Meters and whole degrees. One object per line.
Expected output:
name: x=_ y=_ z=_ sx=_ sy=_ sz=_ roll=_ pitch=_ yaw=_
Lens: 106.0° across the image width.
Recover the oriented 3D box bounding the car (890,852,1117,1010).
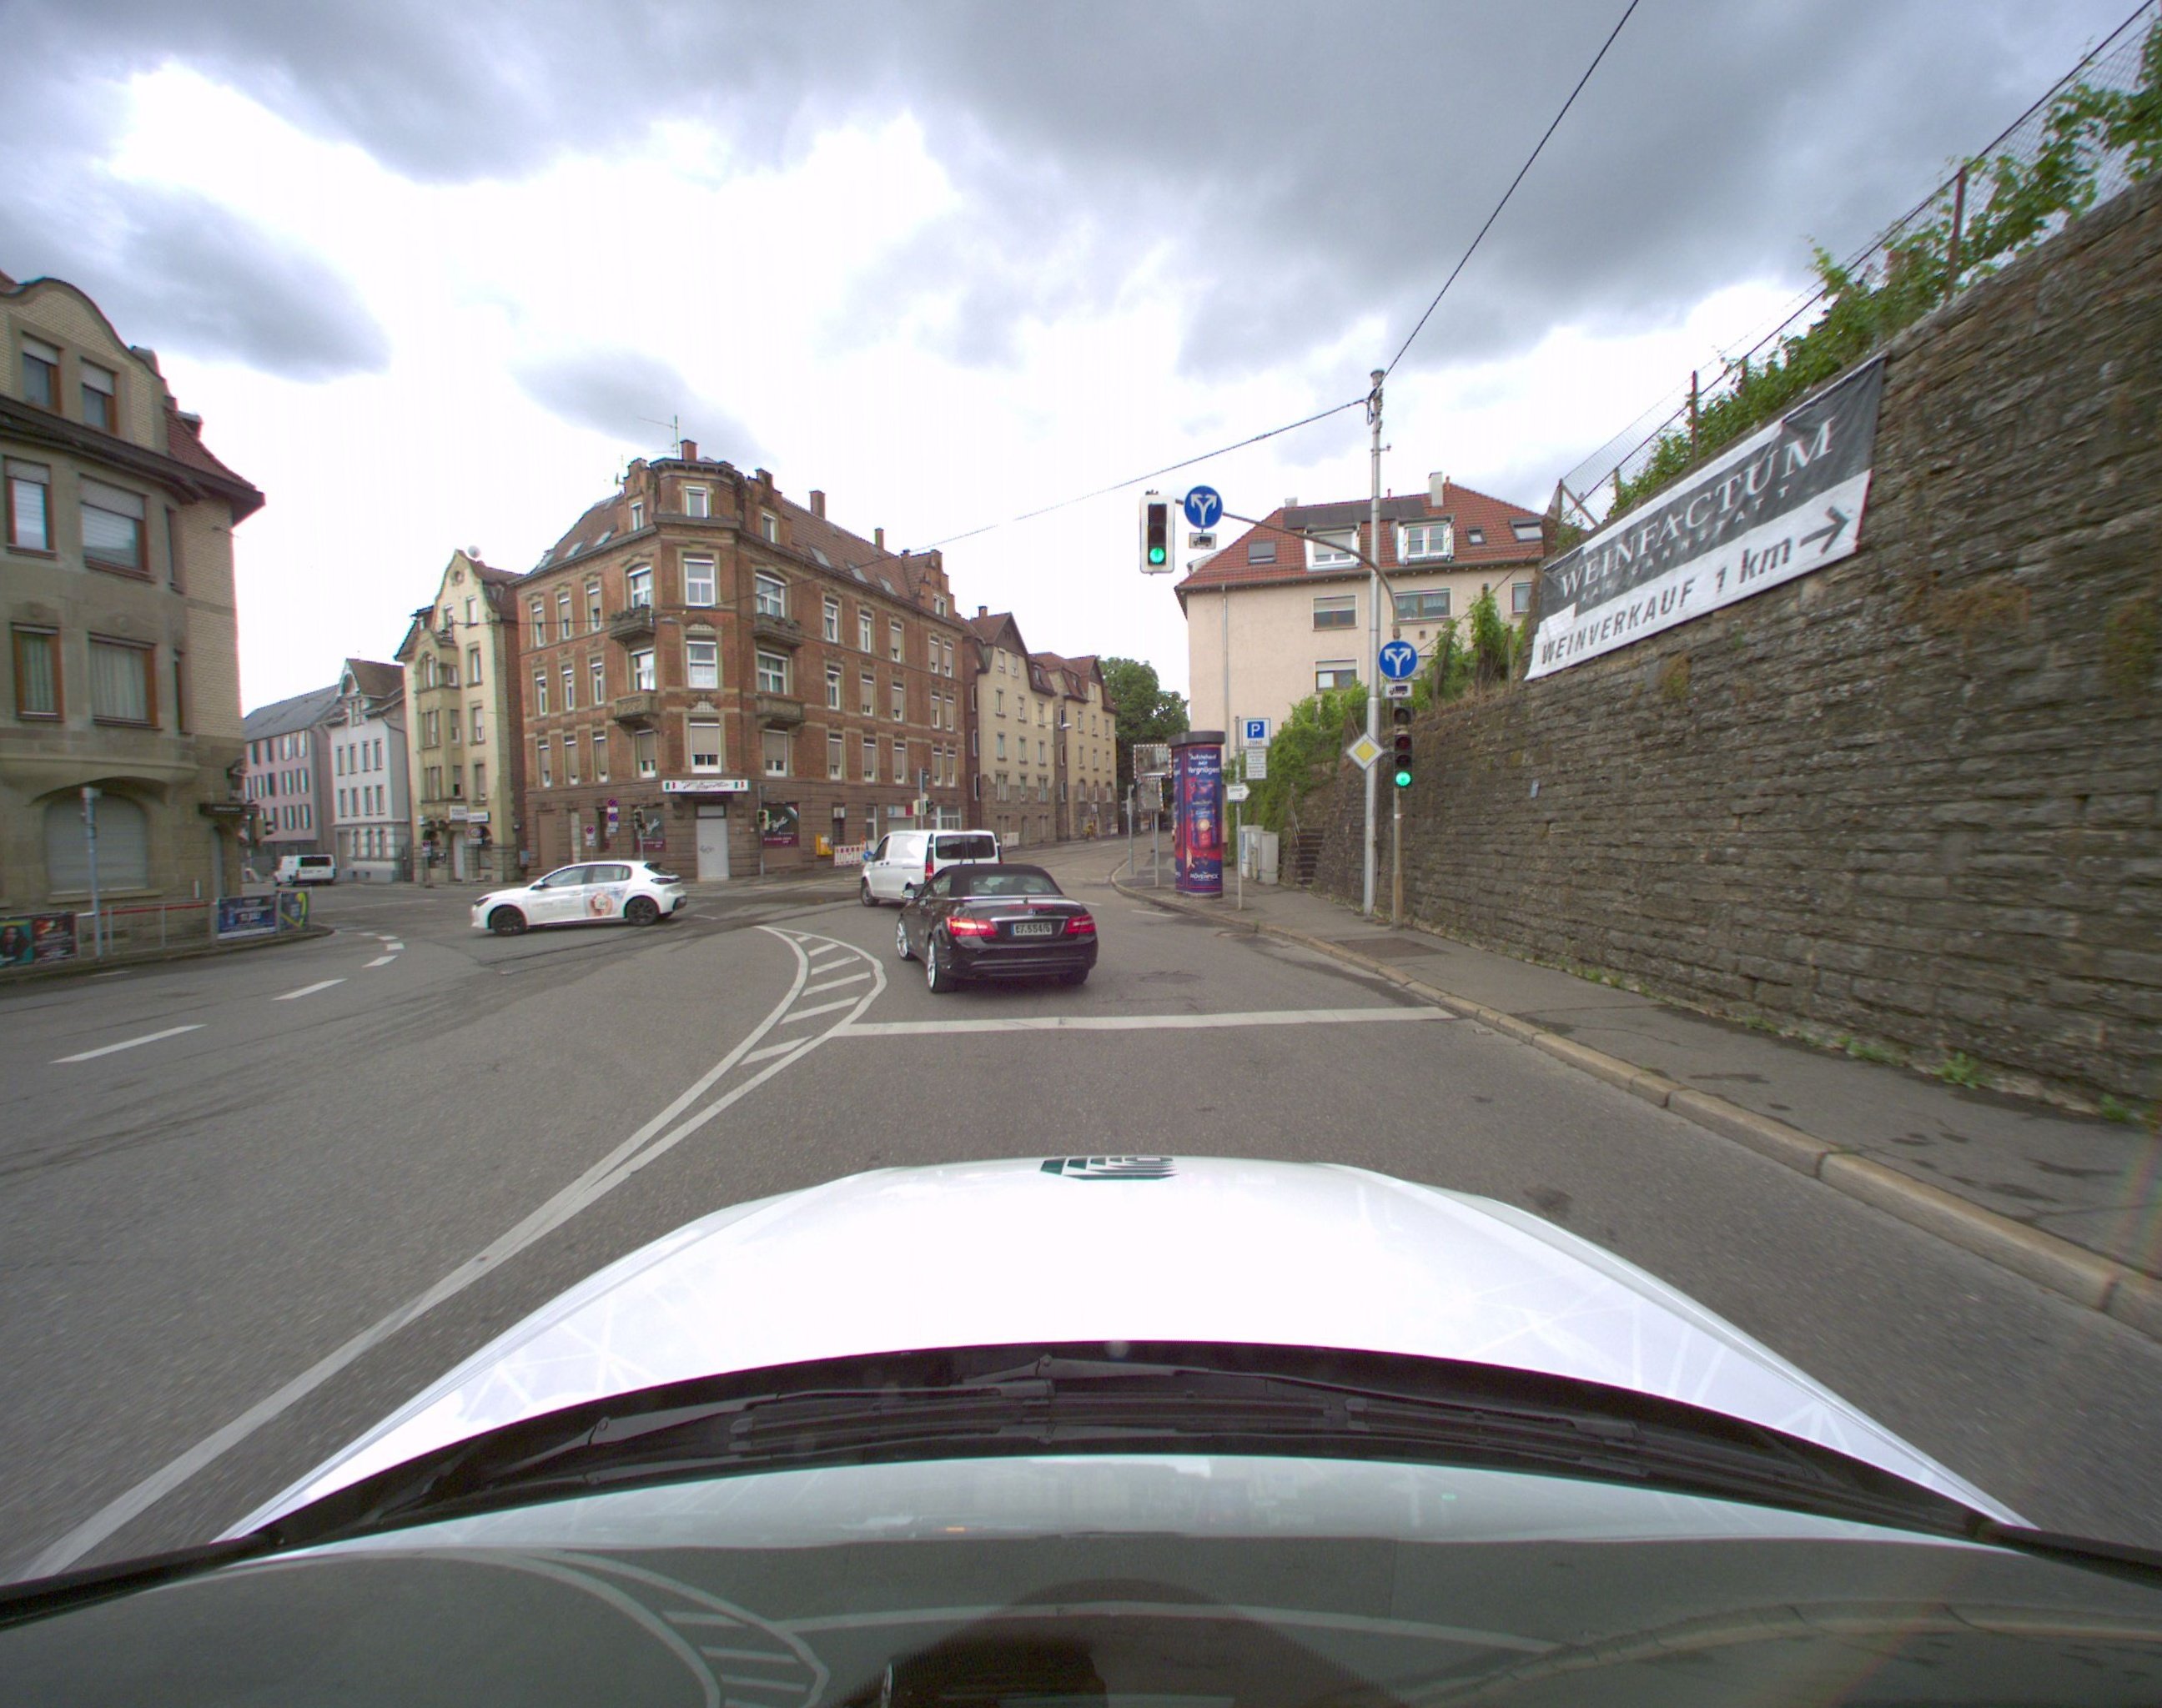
car: x=-1.225 y=0.773 z=10.300 sx=1.768 sy=1.409 sz=4.369 roll=-5 pitch=1 yaw=-19

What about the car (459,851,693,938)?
car: x=-10.889 y=0.828 z=17.855 sx=3.909 sy=1.466 sz=1.679 roll=-5 pitch=1 yaw=-12

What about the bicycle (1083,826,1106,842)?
bicycle: x=1.267 y=-1.833 z=73.349 sx=0.625 sy=1.306 sz=2.616 roll=-5 pitch=1 yaw=34

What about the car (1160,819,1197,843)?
car: x=7.867 y=-1.877 z=65.493 sx=1.932 sy=1.718 sz=4.022 roll=-3 pitch=1 yaw=21

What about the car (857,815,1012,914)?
car: x=-3.555 y=0.257 z=19.050 sx=1.905 sy=1.928 sz=4.598 roll=-5 pitch=1 yaw=-31

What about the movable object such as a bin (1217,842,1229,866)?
movable object such as a bin: x=5.502 y=0.007 z=31.657 sx=0.343 sy=0.912 sz=0.494 roll=-1 pitch=0 yaw=-3

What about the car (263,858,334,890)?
car: x=-51.432 y=1.318 z=53.515 sx=4.862 sy=2.005 sz=2.149 roll=-1 pitch=0 yaw=31
